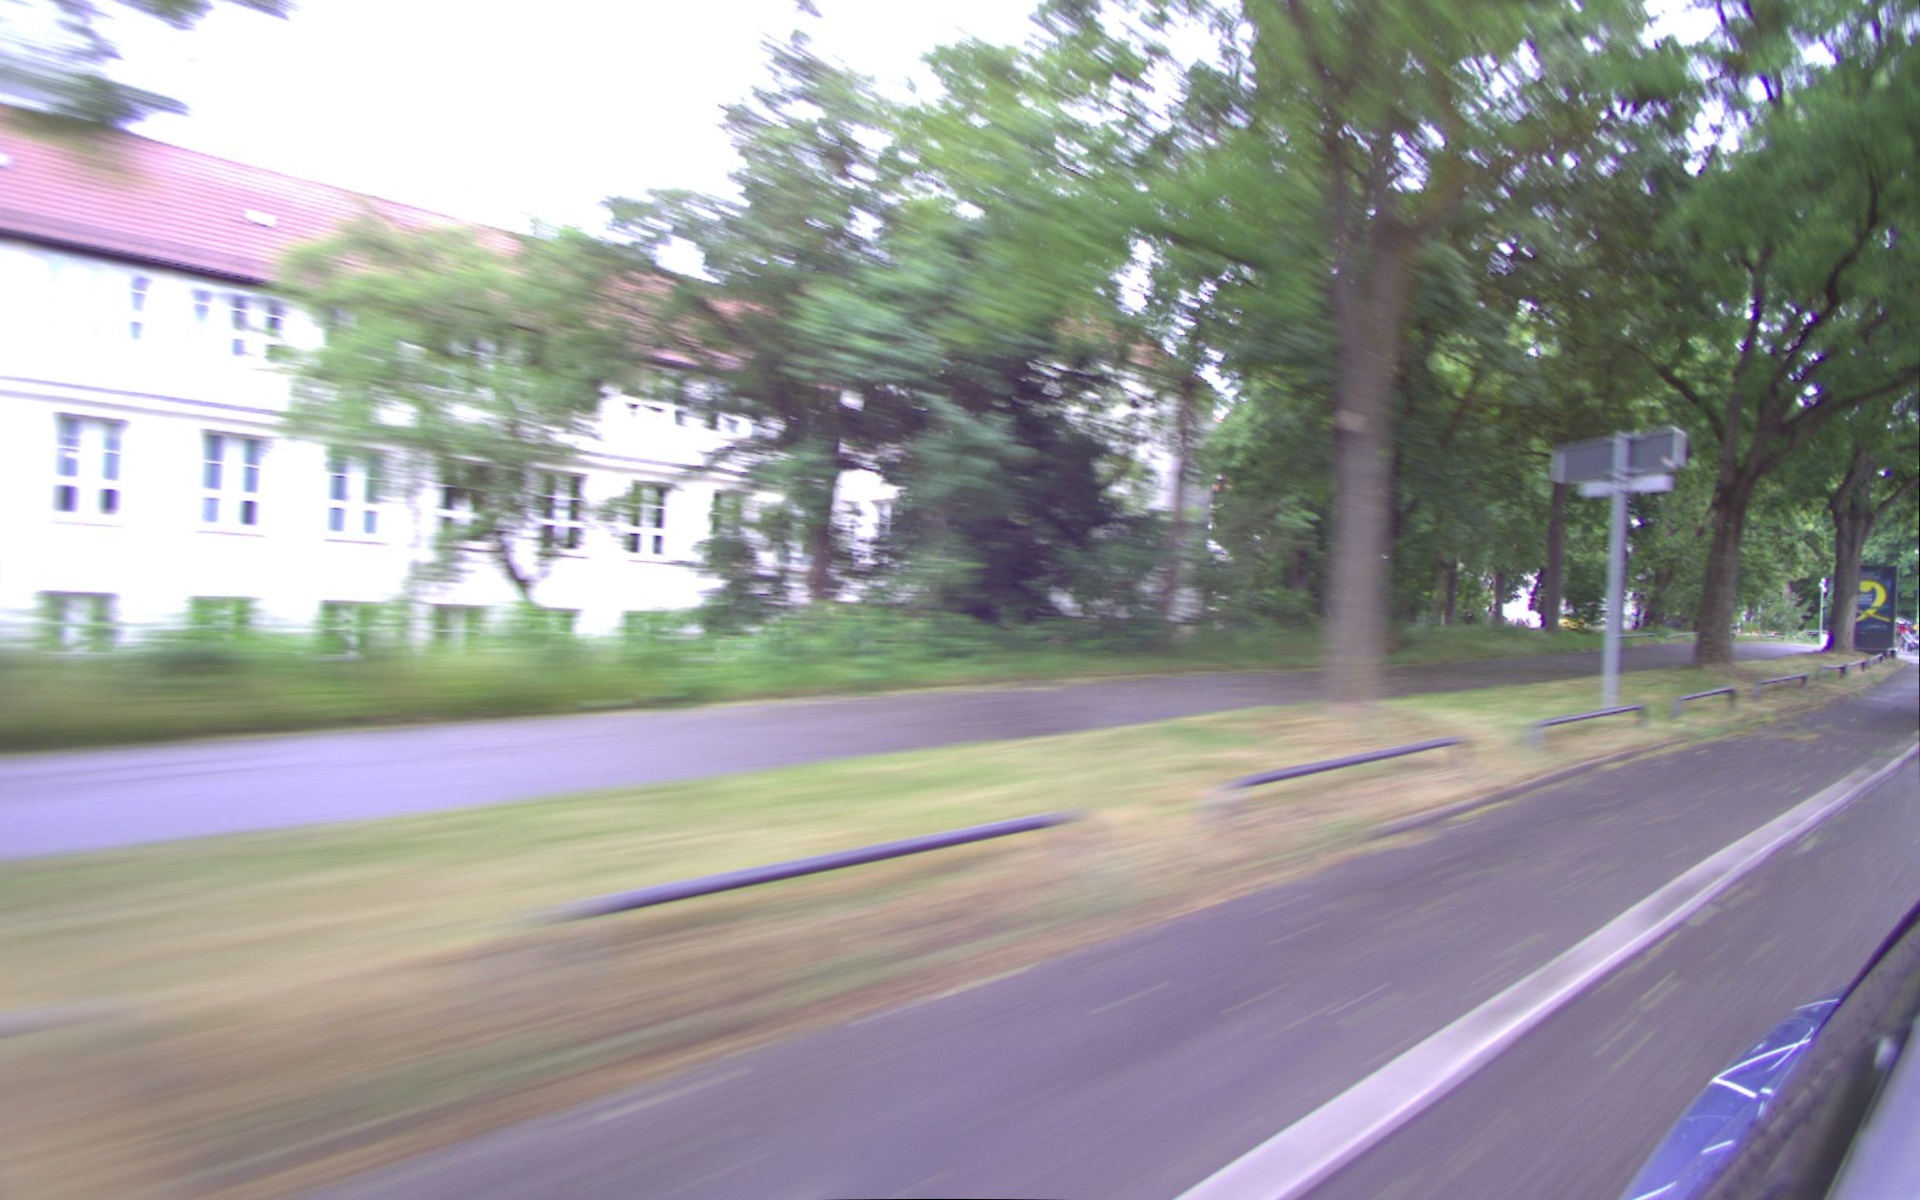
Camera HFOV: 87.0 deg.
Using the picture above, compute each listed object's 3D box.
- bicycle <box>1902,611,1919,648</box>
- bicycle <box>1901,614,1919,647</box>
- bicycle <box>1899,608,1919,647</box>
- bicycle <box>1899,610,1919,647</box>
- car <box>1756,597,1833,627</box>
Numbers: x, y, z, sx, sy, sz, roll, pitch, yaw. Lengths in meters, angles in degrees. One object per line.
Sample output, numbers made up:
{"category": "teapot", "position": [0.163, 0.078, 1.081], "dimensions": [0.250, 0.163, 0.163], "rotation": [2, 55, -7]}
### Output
{"category": "bicycle", "position": [31.462, 0.997, 32.640], "dimensions": [1.486, 1.145, 0.548], "rotation": [7, 4, 44]}
{"category": "bicycle", "position": [34.488, 1.133, 35.843], "dimensions": [1.597, 1.145, 0.548], "rotation": [7, 4, 44]}
{"category": "bicycle", "position": [30.097, 0.895, 31.283], "dimensions": [1.486, 1.145, 0.548], "rotation": [7, 4, 44]}
{"category": "bicycle", "position": [30.752, 0.941, 31.985], "dimensions": [1.486, 1.145, 0.548], "rotation": [7, 4, 44]}
{"category": "car", "position": [61.867, 0.902, 75.076], "dimensions": [3.928, 2.039, 1.998], "rotation": [2, 0, 4]}
